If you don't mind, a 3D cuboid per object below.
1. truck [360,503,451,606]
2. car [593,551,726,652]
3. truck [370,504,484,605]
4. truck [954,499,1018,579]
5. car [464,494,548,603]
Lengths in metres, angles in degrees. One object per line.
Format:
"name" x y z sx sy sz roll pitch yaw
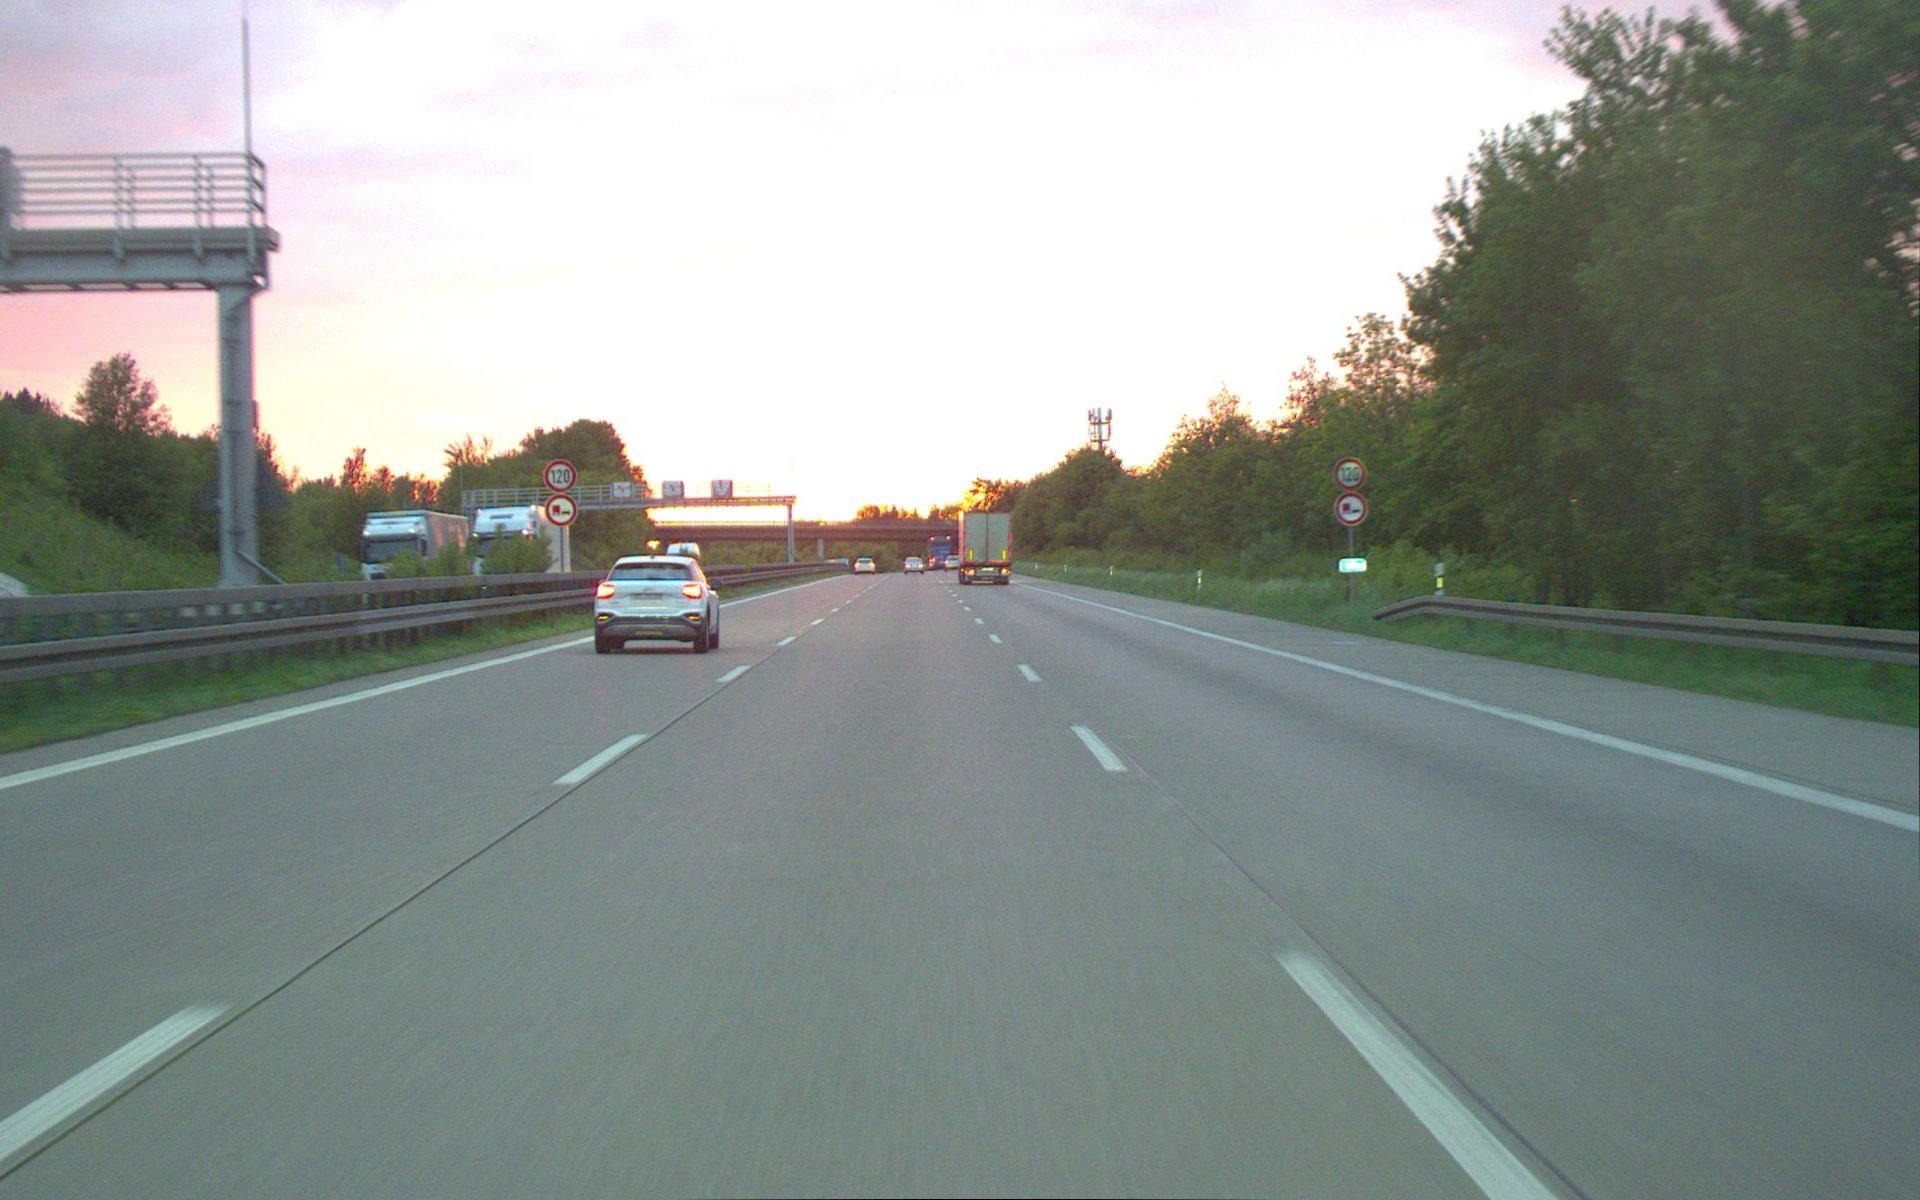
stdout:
"truck" -23.294 -1.903 144.670 2.856 4.196 5.864 -1 1 0
"car" -4.762 -0.014 55.103 1.789 1.495 5.038 0 1 -1
"truck" -23.334 -2.036 151.277 2.895 4.196 13.602 -1 1 0
"truck" 1.422 -3.275 184.615 3.244 4.113 9.786 -2 1 1
"car" -19.266 -2.191 146.255 2.798 4.472 5.930 -1 1 -1
